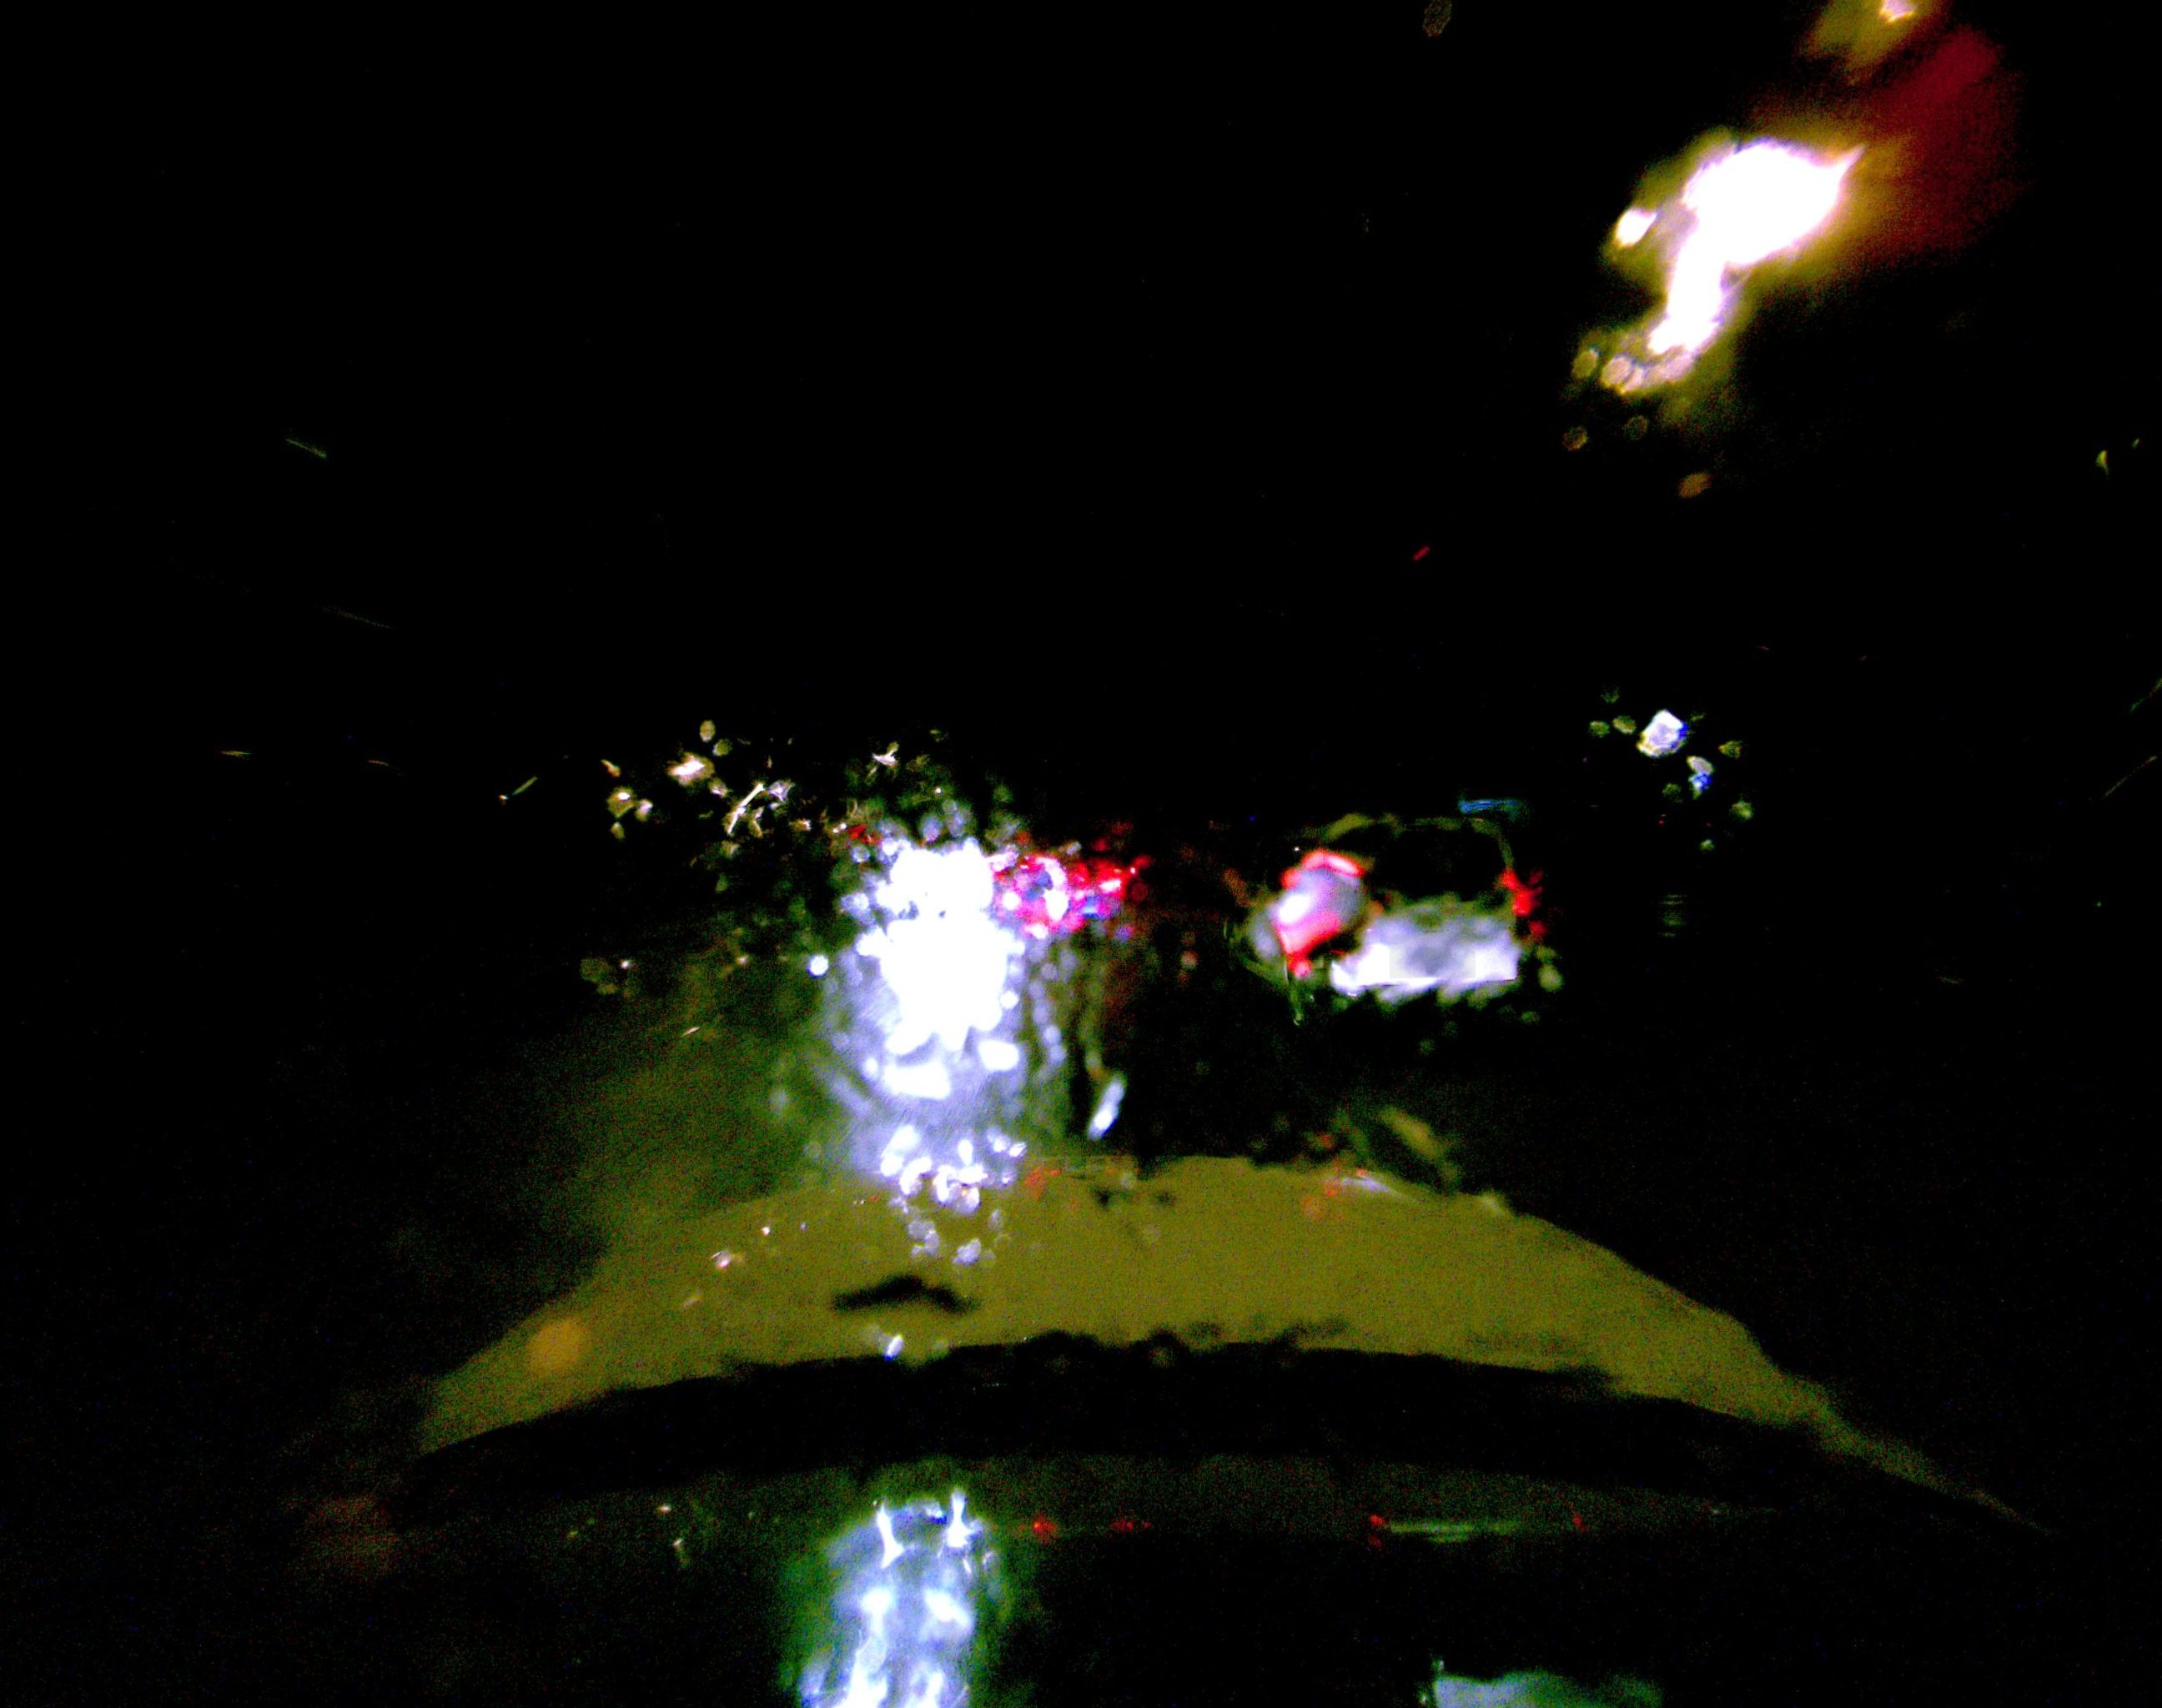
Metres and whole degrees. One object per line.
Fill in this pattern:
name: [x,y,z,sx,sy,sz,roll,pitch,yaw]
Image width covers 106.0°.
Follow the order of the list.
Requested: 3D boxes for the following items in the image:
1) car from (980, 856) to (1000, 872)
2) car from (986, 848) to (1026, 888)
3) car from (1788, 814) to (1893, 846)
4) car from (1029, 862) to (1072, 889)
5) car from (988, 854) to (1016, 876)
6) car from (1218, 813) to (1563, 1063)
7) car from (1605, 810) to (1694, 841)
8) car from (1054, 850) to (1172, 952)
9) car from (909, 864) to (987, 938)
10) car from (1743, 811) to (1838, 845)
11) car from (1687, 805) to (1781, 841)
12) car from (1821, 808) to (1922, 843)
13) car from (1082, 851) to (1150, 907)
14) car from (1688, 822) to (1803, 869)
car: [-10.088,1.058,89.964,1.993,1.732,3.988,0,0,-9]
car: [-3.966,0.703,42.943,1.991,2.013,3.991,0,0,-6]
car: [43.961,-1.366,47.254,3.954,1.706,2.010,0,0,19]
car: [-2.078,1.383,53.767,1.997,1.718,3.979,0,0,-16]
car: [-6.410,0.868,65.701,1.993,1.732,3.988,0,0,-9]
car: [2.701,0.634,8.306,1.846,1.865,4.339,0,0,0]
car: [34.395,-1.684,49.377,1.785,1.669,4.027,0,0,-33]
car: [0.497,0.796,16.032,2.009,1.717,4.449,0,0,-1]
car: [-3.856,1.246,23.597,2.014,1.887,4.437,0,0,-10]
car: [43.928,-1.591,50.538,3.956,2.014,2.009,0,0,17]
car: [39.070,-1.841,48.847,3.954,2.014,2.010,0,0,19]
car: [48.125,-1.707,49.660,3.958,2.014,2.008,0,0,14]
car: [1.295,0.914,31.985,1.967,2.047,3.989,0,0,-8]
car: [26.222,-0.313,32.324,1.852,1.646,3.976,-3,-1,12]
